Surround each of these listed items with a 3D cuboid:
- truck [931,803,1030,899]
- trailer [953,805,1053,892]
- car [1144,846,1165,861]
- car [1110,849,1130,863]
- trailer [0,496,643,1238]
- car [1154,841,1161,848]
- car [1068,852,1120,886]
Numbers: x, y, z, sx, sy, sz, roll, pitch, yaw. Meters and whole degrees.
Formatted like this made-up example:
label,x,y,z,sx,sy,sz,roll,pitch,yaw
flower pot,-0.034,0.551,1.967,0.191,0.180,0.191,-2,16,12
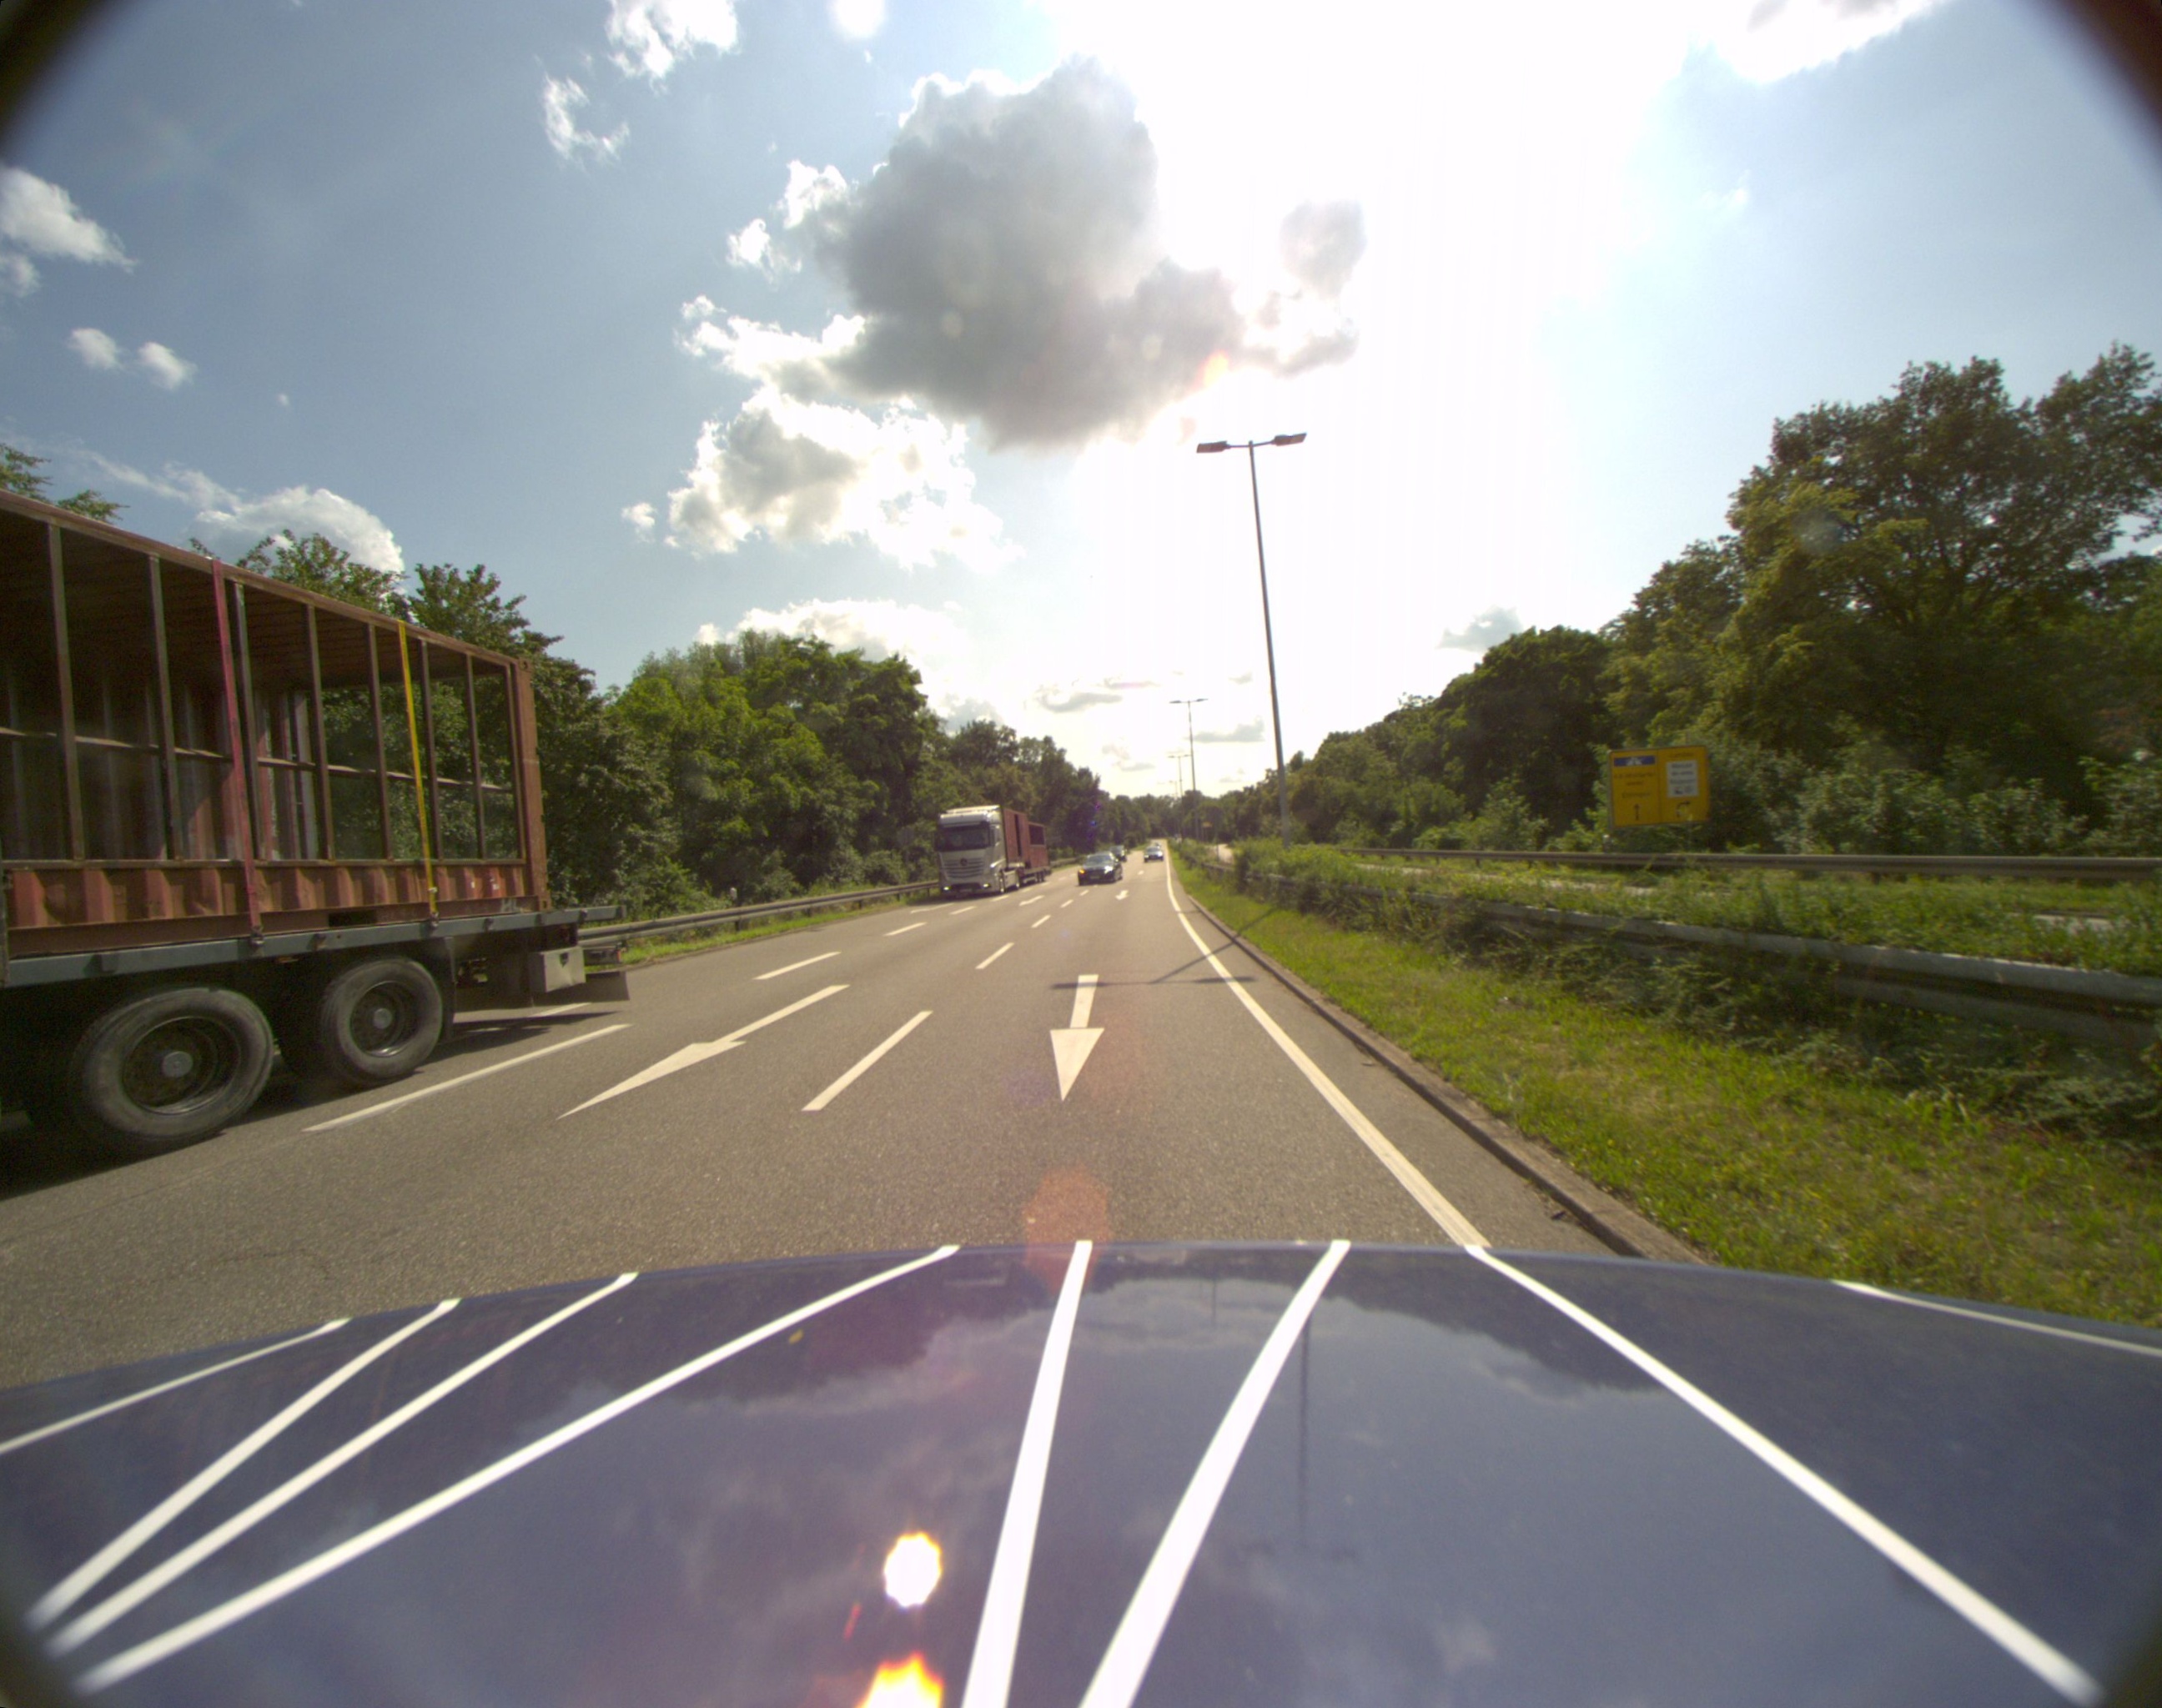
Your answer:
label,x,y,z,sx,sy,sz,roll,pitch,yaw
truck,-4.436,-0.108,35.080,2.775,3.822,6.823,-4,0,6
trailer,-3.861,-0.253,41.277,2.777,3.827,12.326,-4,0,6
car,6.997,-0.079,72.977,1.858,1.354,4.001,-2,0,4
car,4.268,0.183,82.090,1.857,1.402,4.002,-3,0,5
trailer,-7.033,0.137,2.130,2.645,3.868,13.850,-5,0,3
car,22.739,-2.875,225.708,1.976,2.002,4.000,-2,1,3
car,0.684,0.688,36.466,1.794,1.427,4.372,-3,0,9
